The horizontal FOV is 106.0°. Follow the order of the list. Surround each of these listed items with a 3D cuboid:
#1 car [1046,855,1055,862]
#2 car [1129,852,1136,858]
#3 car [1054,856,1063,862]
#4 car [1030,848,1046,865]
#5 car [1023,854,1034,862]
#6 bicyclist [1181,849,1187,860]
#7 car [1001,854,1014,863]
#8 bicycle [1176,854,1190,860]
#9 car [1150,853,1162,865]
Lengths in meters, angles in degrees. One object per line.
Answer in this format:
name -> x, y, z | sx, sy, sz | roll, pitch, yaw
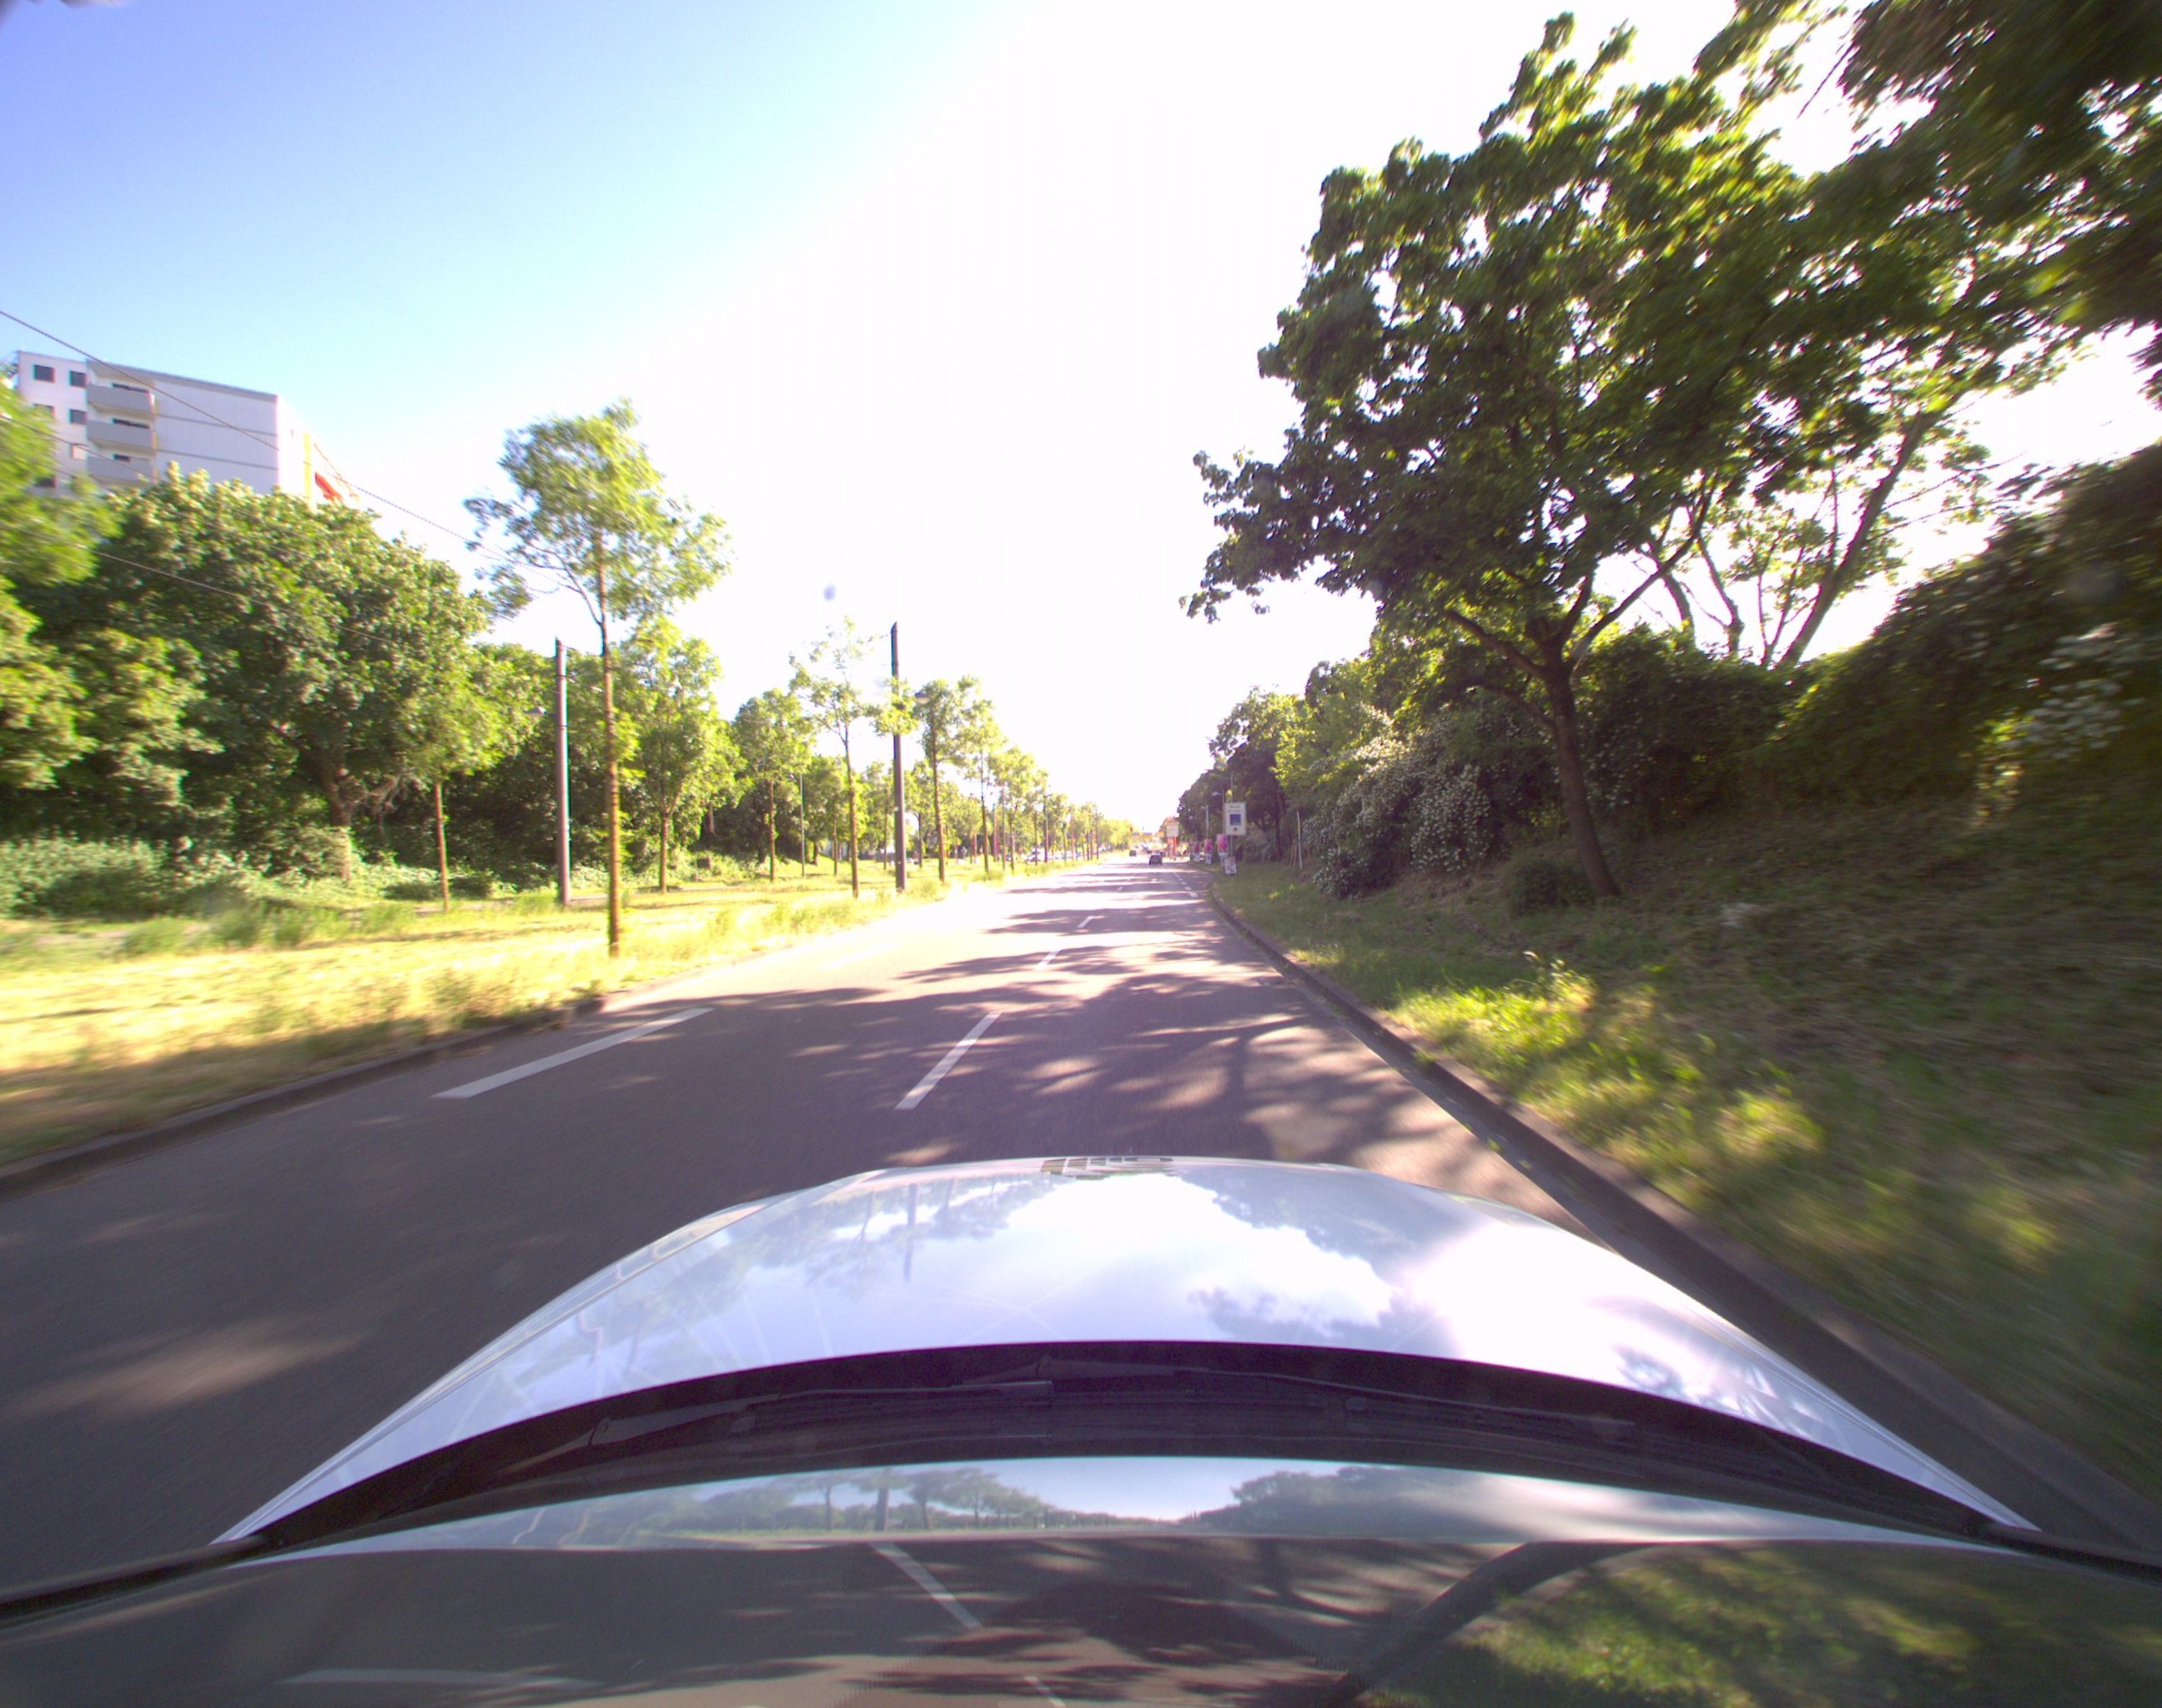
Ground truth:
car -> -6.748, 0.998, 182.243 | 1.624, 1.680, 4.195 | -1, 0, 3
car -> 12.894, 0.284, 203.203 | 1.626, 1.498, 4.241 | -1, 0, 5
car -> -5.221, 1.222, 191.136 | 1.624, 1.445, 4.195 | -1, 0, 3
car -> -8.287, 0.559, 158.635 | 2.455, 3.240, 6.139 | -1, -1, 3
car -> -11.135, 0.816, 172.989 | 1.624, 1.680, 4.195 | -1, 0, 3
bicyclist -> 18.150, 0.043, 144.018 | 1.004, 2.007, 0.813 | -1, 0, 4
car -> -13.328, 0.766, 148.057 | 1.624, 1.680, 4.195 | -1, 0, 3
bicycle -> 17.983, 0.490, 144.028 | 2.403, 1.109, 0.813 | -1, 0, 4
car -> 10.058, 0.648, 109.132 | 1.626, 1.498, 4.241 | -1, 0, 5
